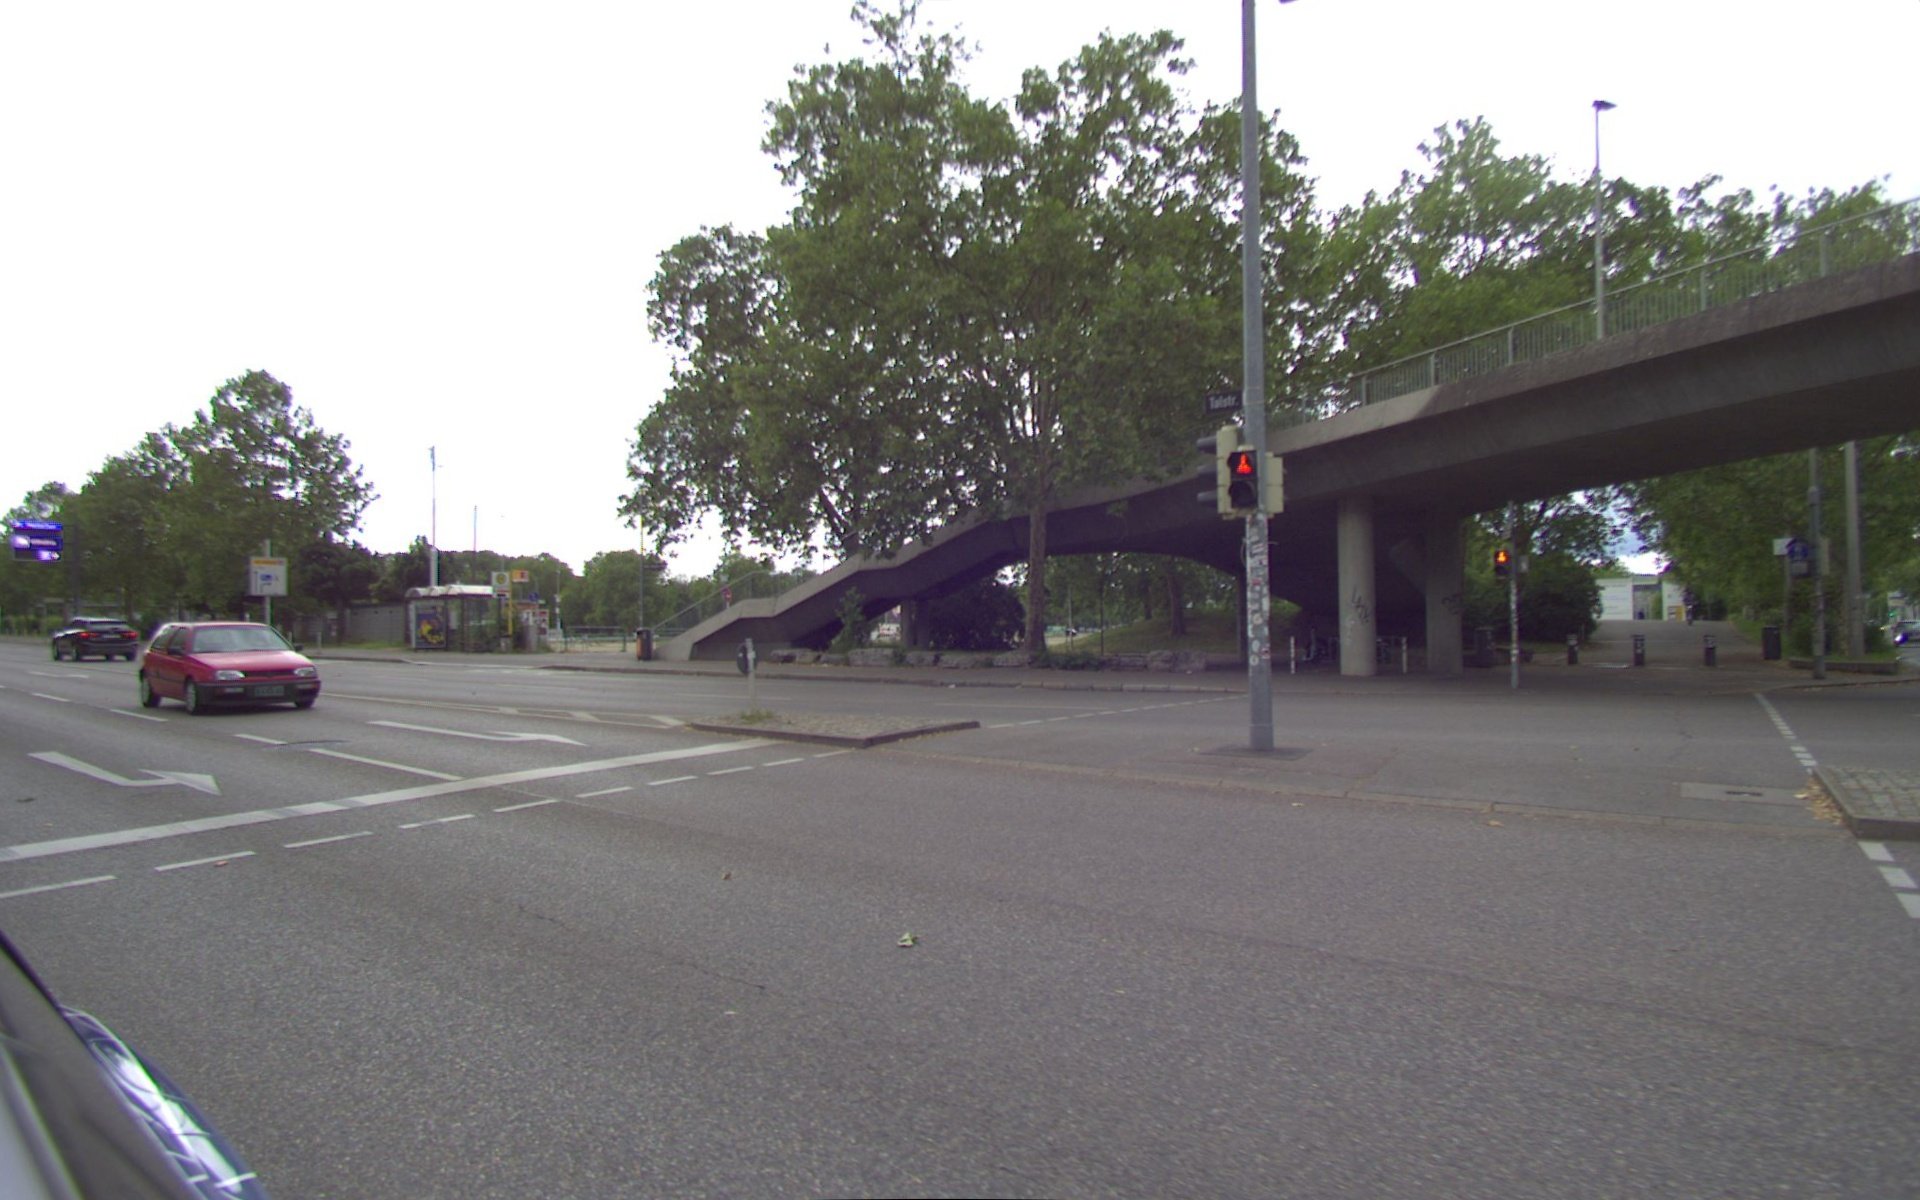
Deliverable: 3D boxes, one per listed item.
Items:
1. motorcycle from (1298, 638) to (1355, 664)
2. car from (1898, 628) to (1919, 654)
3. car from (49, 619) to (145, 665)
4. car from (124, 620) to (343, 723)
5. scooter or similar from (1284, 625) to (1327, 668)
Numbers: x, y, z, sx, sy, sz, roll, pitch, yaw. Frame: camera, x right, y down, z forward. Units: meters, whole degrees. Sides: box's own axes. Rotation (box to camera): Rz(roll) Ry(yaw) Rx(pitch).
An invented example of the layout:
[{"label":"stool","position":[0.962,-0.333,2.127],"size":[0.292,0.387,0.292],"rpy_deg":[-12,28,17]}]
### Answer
[{"label":"motorcycle","position":[12.662,1.746,34.971],"size":[1.737,0.858,0.640],"rpy_deg":[-2,-2,44]},{"label":"car","position":[56.060,2.373,58.975],"size":[1.762,1.331,3.668],"rpy_deg":[-1,0,39]},{"label":"car","position":[-31.956,1.531,37.431],"size":[4.420,1.618,1.753],"rpy_deg":[-1,-2,37]},{"label":"car","position":[-12.003,1.088,16.641],"size":[4.069,1.463,1.812],"rpy_deg":[-1,-1,37]},{"label":"scooter or similar","position":[11.066,1.472,32.433],"size":[1.226,1.328,0.412],"rpy_deg":[1,-1,38]}]
